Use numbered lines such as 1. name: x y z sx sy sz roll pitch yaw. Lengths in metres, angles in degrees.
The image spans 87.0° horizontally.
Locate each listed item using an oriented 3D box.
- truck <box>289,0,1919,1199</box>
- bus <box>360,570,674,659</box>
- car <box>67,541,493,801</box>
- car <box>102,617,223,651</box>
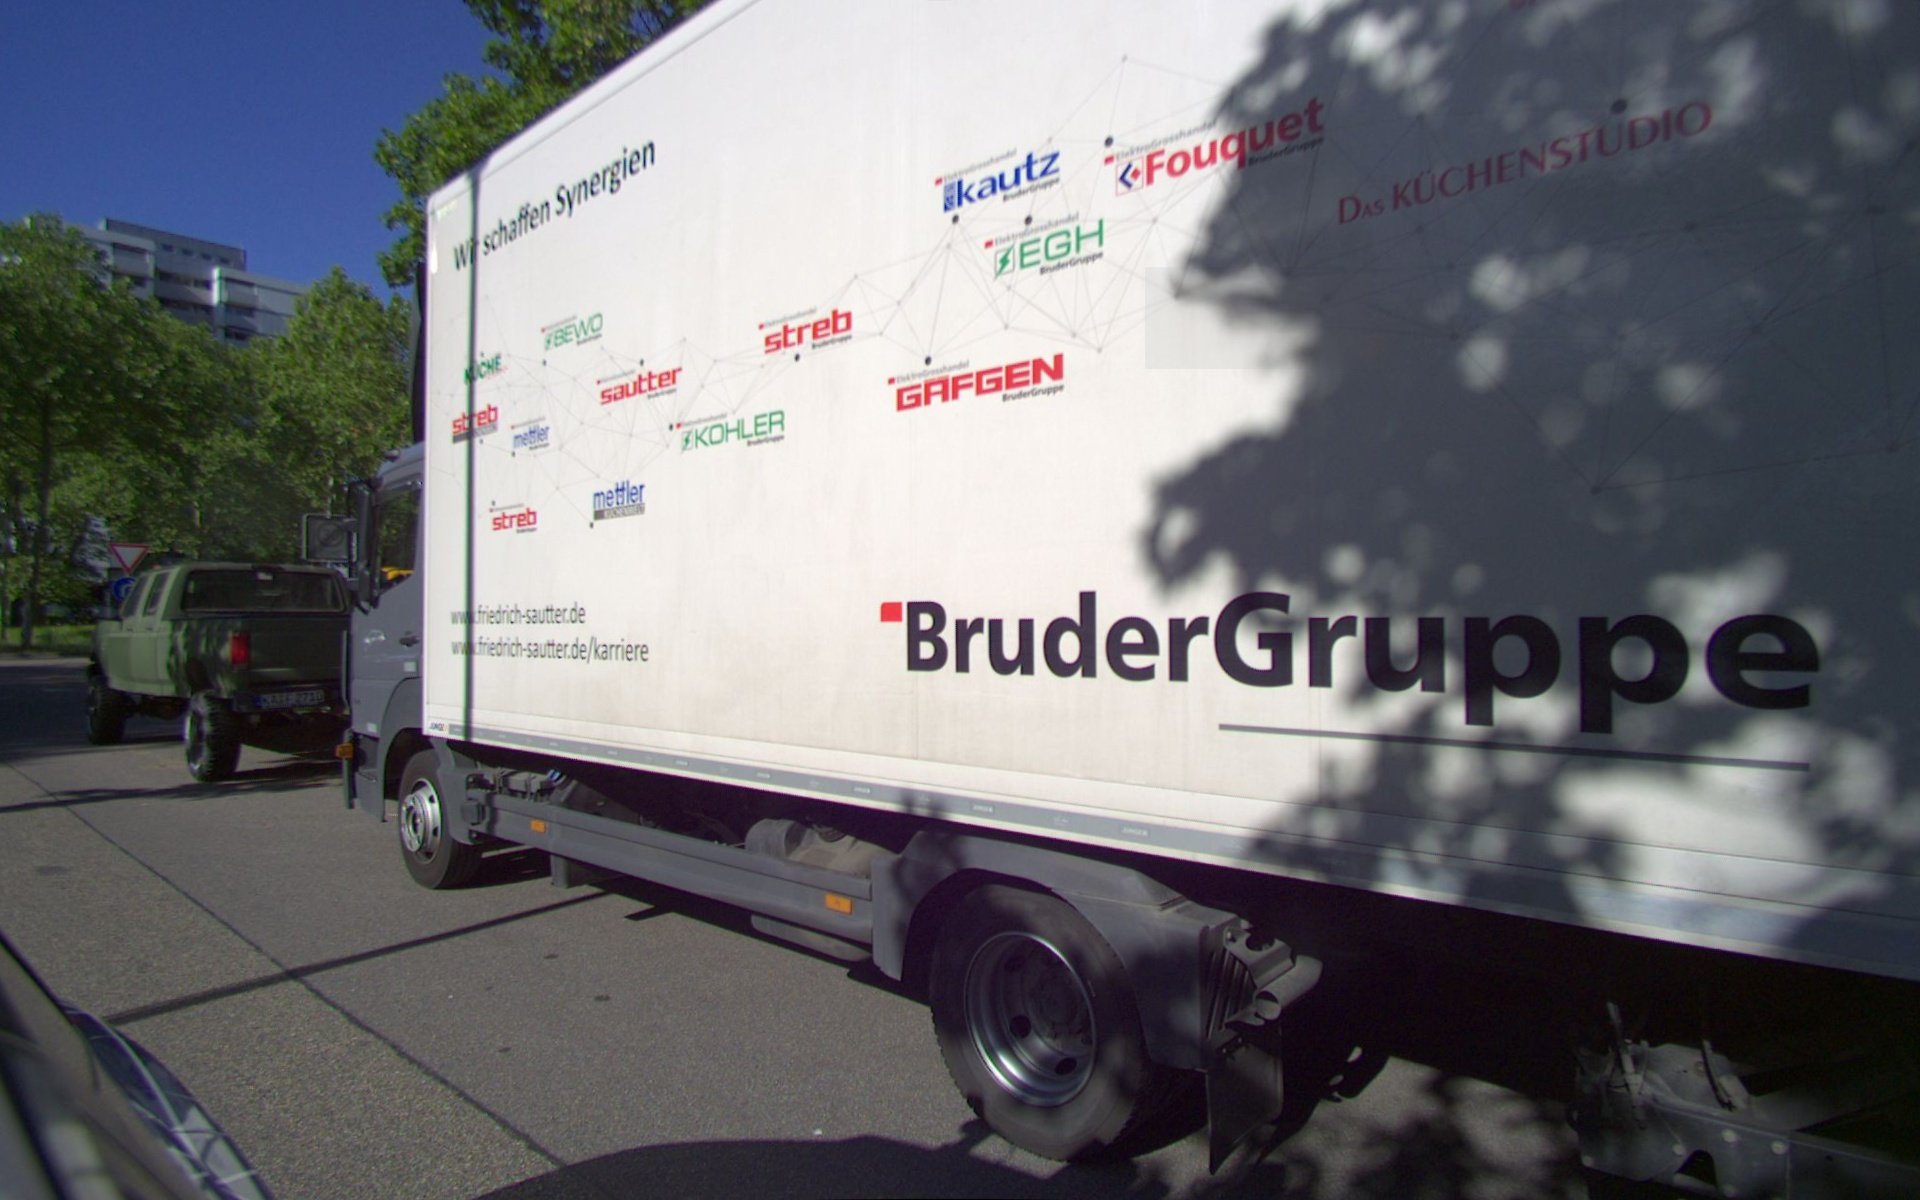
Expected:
1. truck: -0.142 -0.305 4.597 8.095 3.669 2.706 -1 -1 40
2. bus: -18.239 0.452 42.830 11.973 3.294 2.699 -1 1 -45
3. car: -7.752 0.631 11.136 6.577 2.112 2.098 -1 -1 39
4. car: -38.543 1.606 48.992 1.620 1.402 4.422 -1 1 43
